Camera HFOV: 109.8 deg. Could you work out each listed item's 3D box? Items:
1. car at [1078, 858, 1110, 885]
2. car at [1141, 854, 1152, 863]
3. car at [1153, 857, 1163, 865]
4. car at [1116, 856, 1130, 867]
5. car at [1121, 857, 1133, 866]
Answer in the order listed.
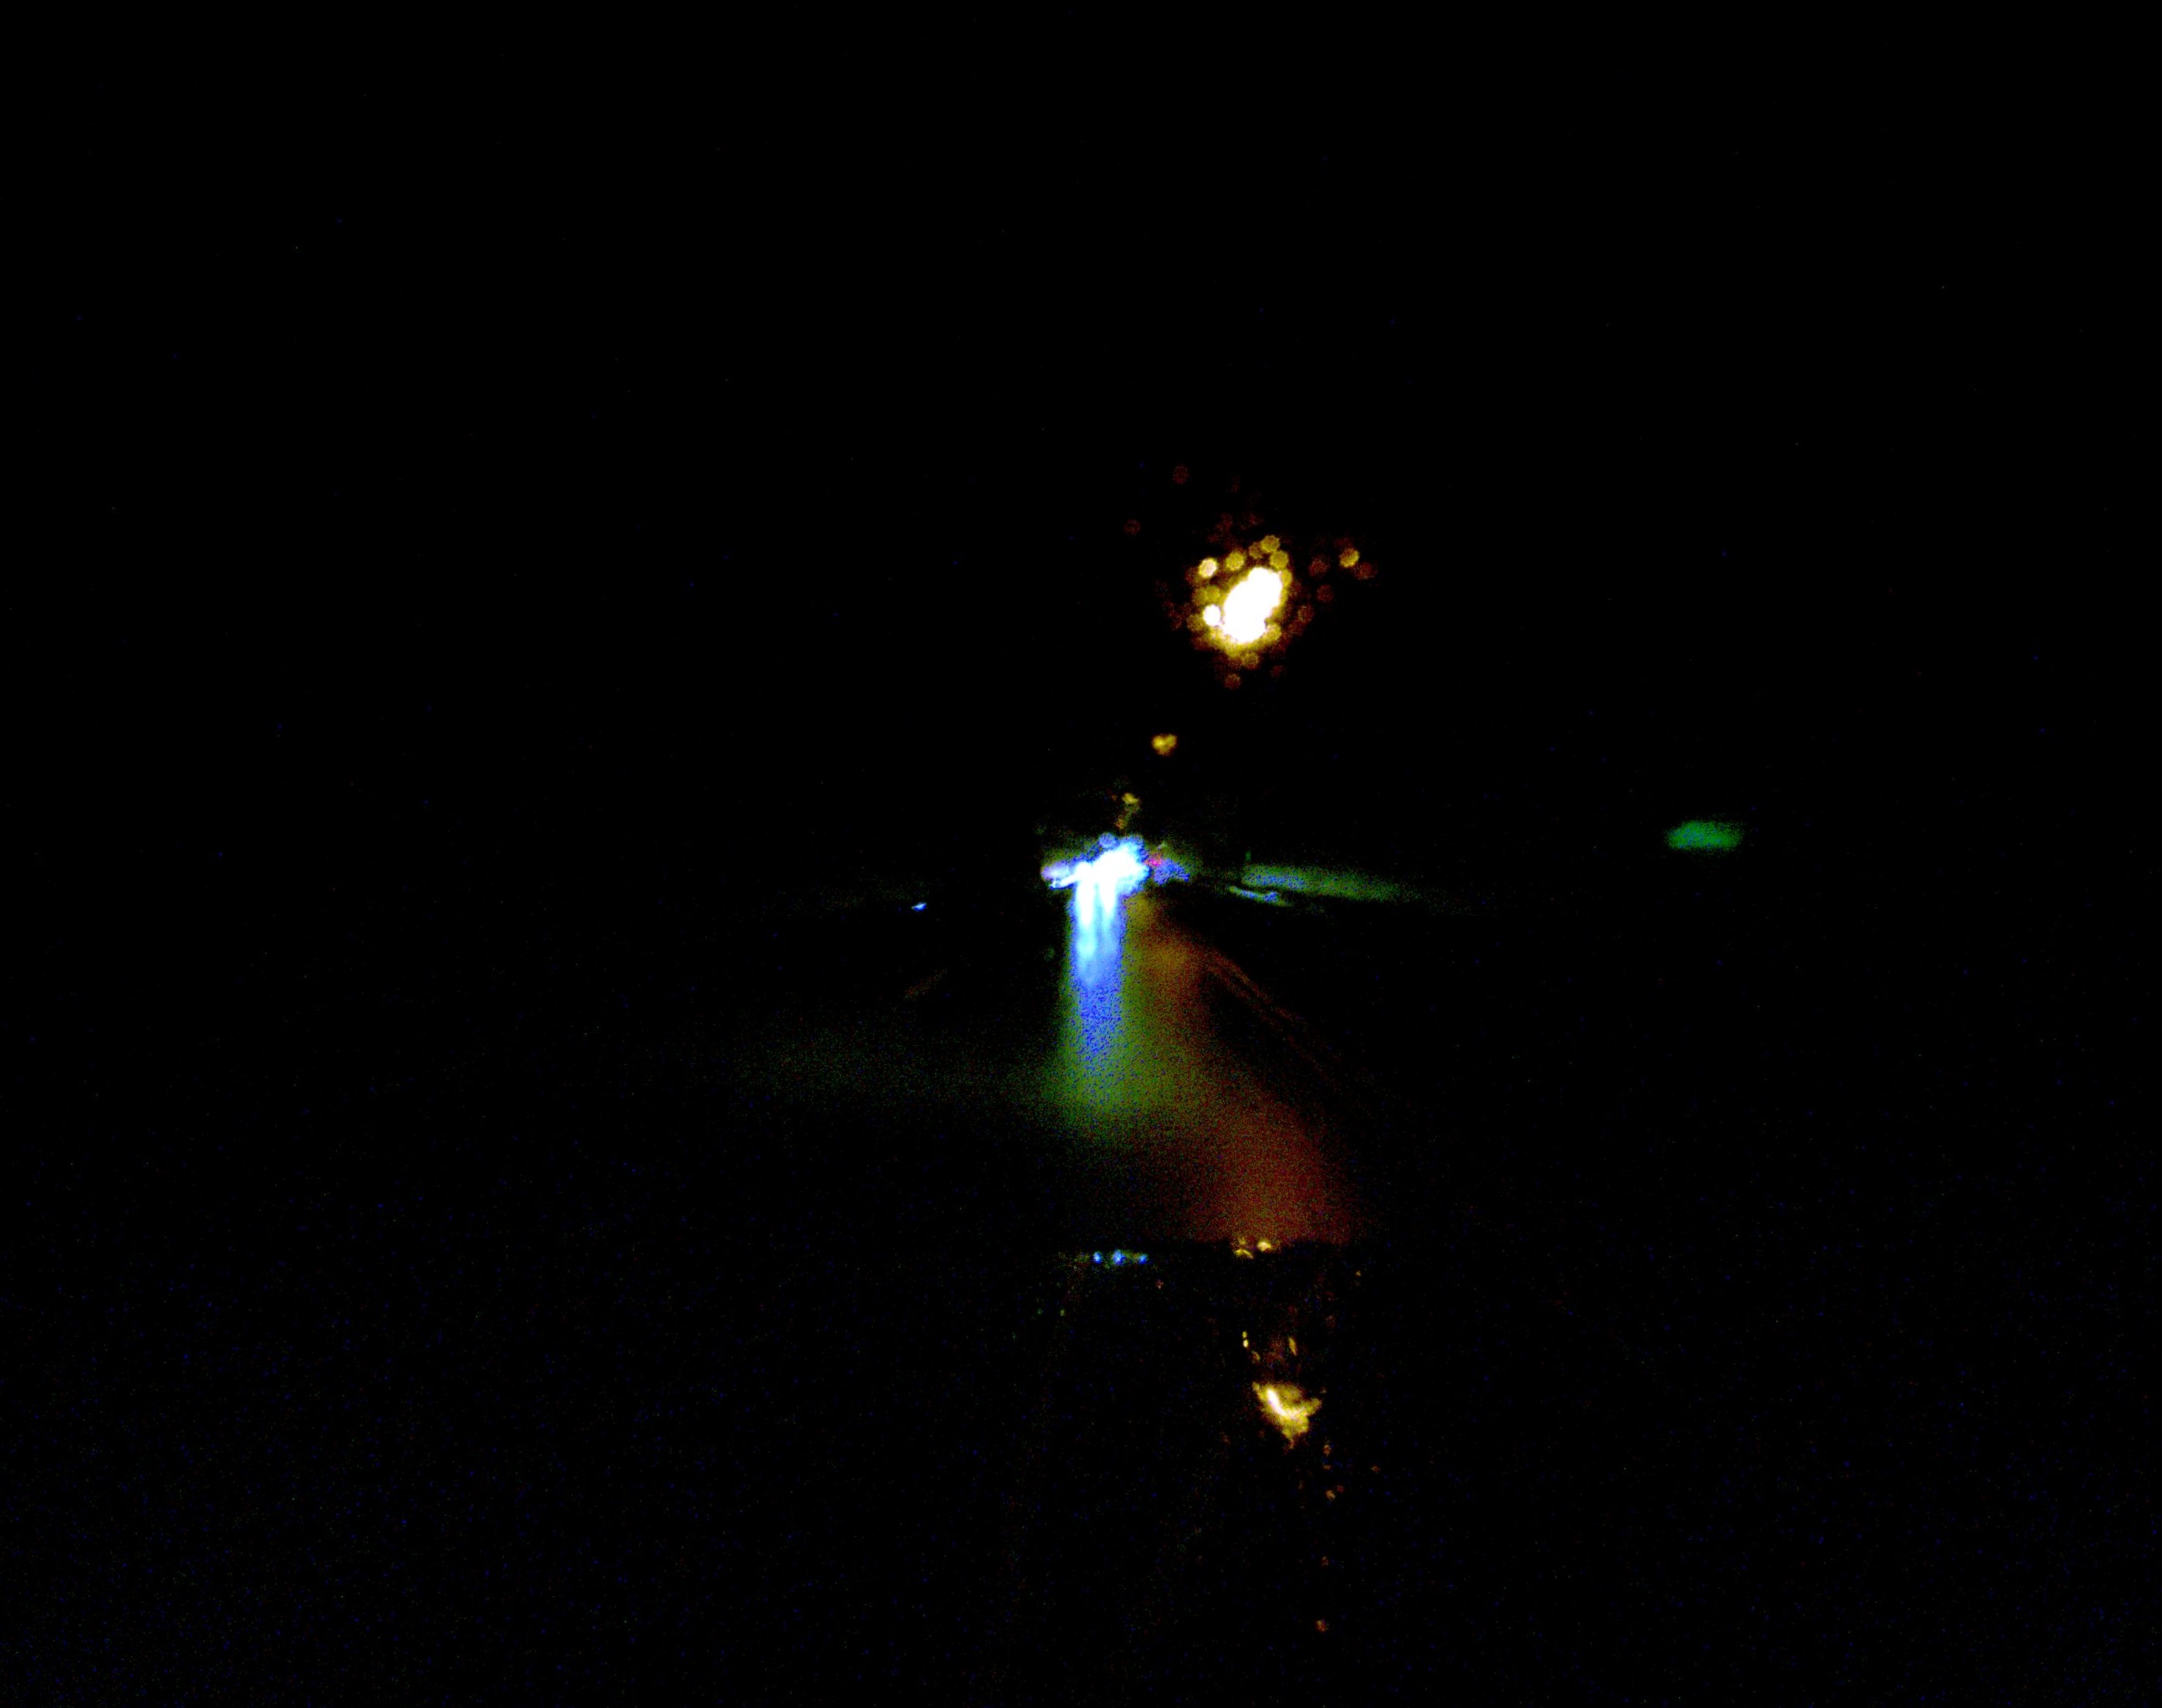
[{"bbox_3d":[0.908,1.094,50.107,1.998,1.576,4.000,-2,1,2],"label":"car"},{"bbox_3d":[12.160,0.836,141.636,1.998,1.576,4.001,-2,1,4],"label":"car"},{"bbox_3d":[16.190,1.411,159.884,1.998,1.576,4.001,-2,1,4],"label":"car"},{"bbox_3d":[6.458,1.166,117.610,1.998,1.576,4.000,-3,0,1],"label":"car"},{"bbox_3d":[8.307,1.334,137.292,1.998,1.576,4.001,-2,1,4],"label":"car"}]
